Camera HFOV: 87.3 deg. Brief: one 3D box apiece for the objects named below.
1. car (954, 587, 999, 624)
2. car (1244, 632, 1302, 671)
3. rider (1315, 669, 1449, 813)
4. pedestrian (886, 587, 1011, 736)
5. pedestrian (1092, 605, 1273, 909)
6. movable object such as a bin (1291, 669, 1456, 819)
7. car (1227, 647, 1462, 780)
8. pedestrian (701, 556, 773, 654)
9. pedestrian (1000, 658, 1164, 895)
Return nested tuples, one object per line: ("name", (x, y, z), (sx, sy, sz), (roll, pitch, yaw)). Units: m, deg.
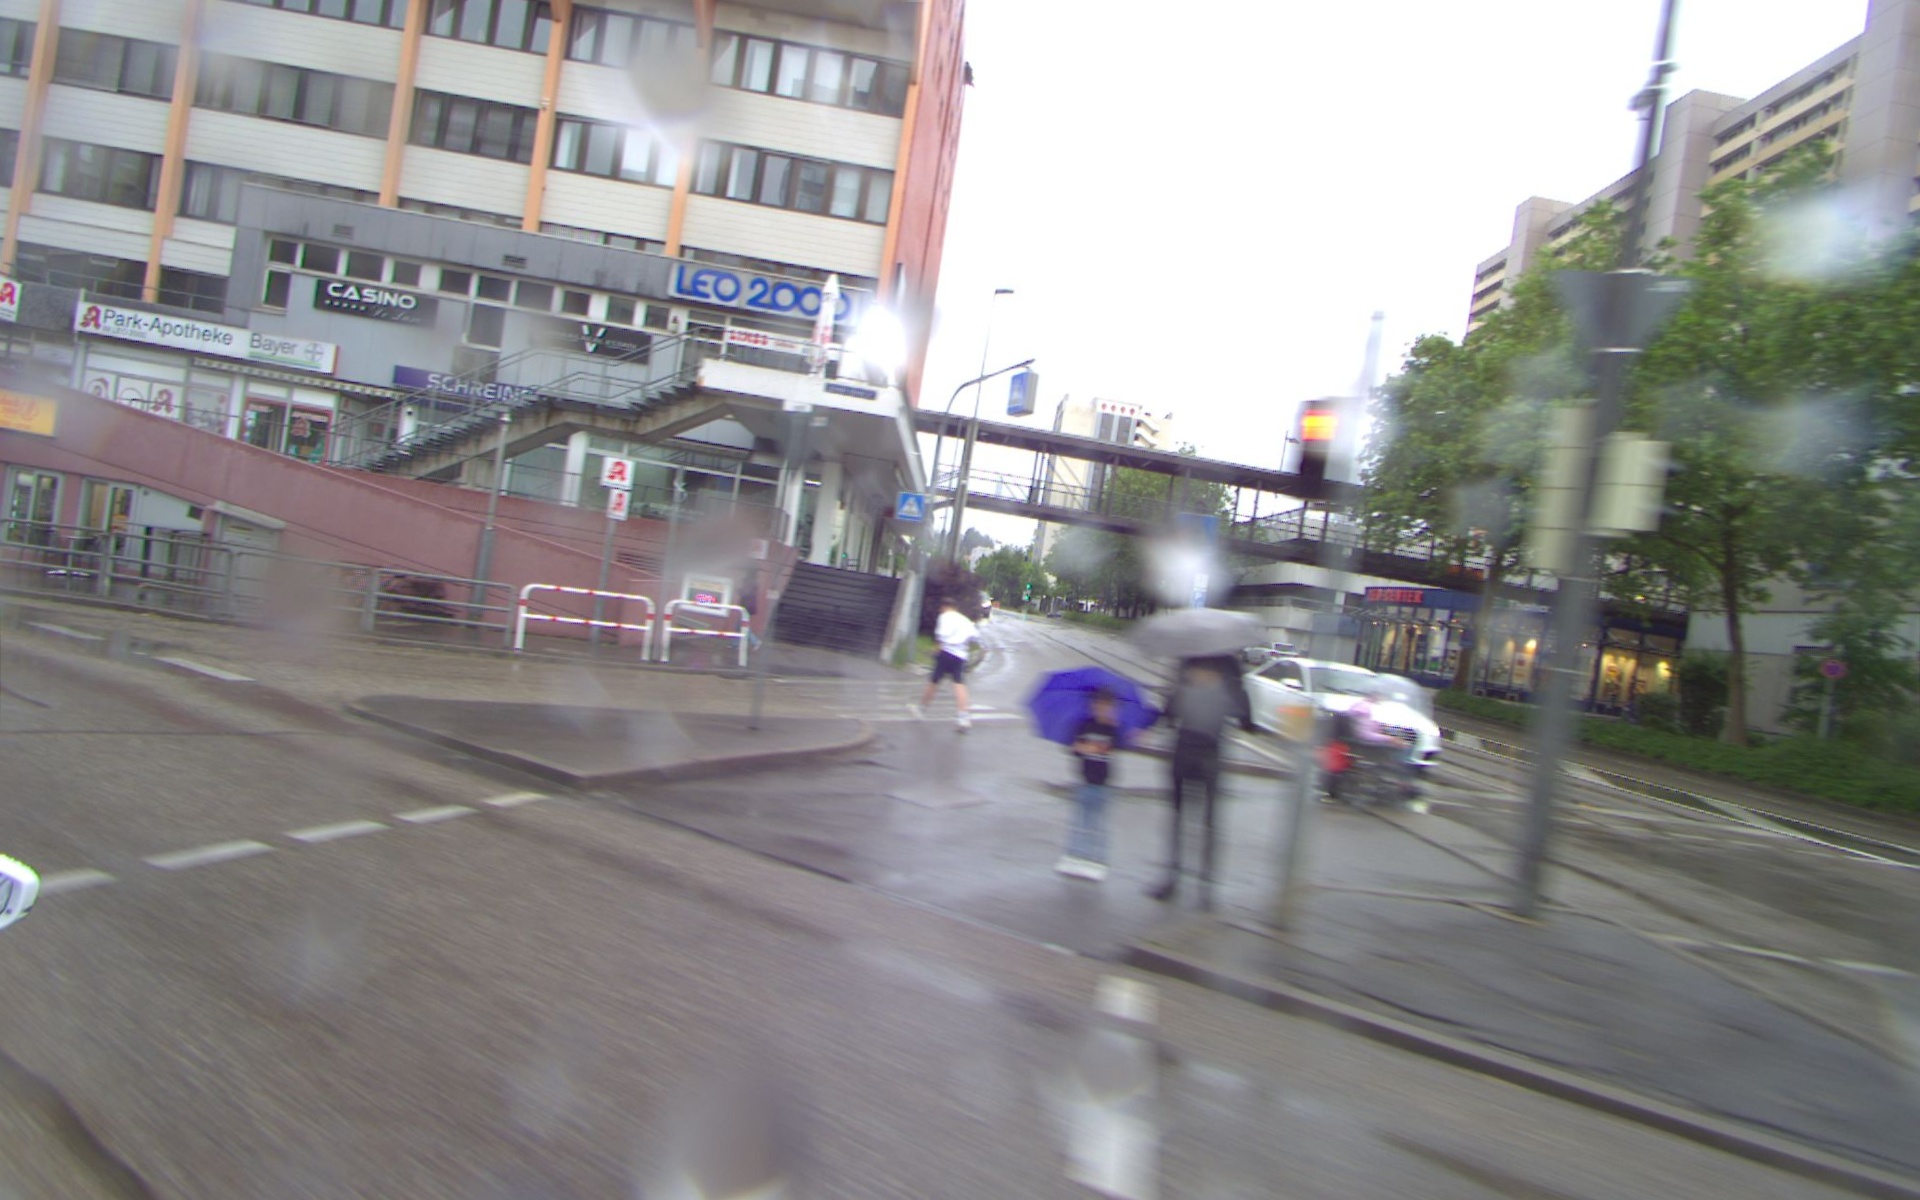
("car", (1.022, 0.302, 63.708), (1.966, 2.038, 3.993), (8, 0, -9))
("car", (18.086, 2.937, 58.355), (1.802, 1.828, 3.998), (7, 0, -2))
("rider", (4.664, 1.507, 11.097), (1.072, 1.302, 0.922), (10, 4, 31))
("pedestrian", (-0.155, 0.790, 12.917), (1.112, 1.711, 0.828), (9, 1, 40))
("pedestrian", (1.344, 0.903, 6.046), (0.645, 1.627, 0.708), (8, 1, 35))
("movable object such as a bin", (4.620, 1.543, 11.228), (1.430, 1.349, 1.130), (7, 2, 31))
("car", (6.094, 1.721, 16.670), (1.779, 1.424, 4.787), (7, 0, -2))
("pedestrian", (-4.271, 0.097, 19.251), (0.790, 1.689, 0.920), (8, 2, -39))
("pedestrian", (0.804, 1.109, 6.569), (0.645, 1.362, 0.708), (8, 1, 35))
